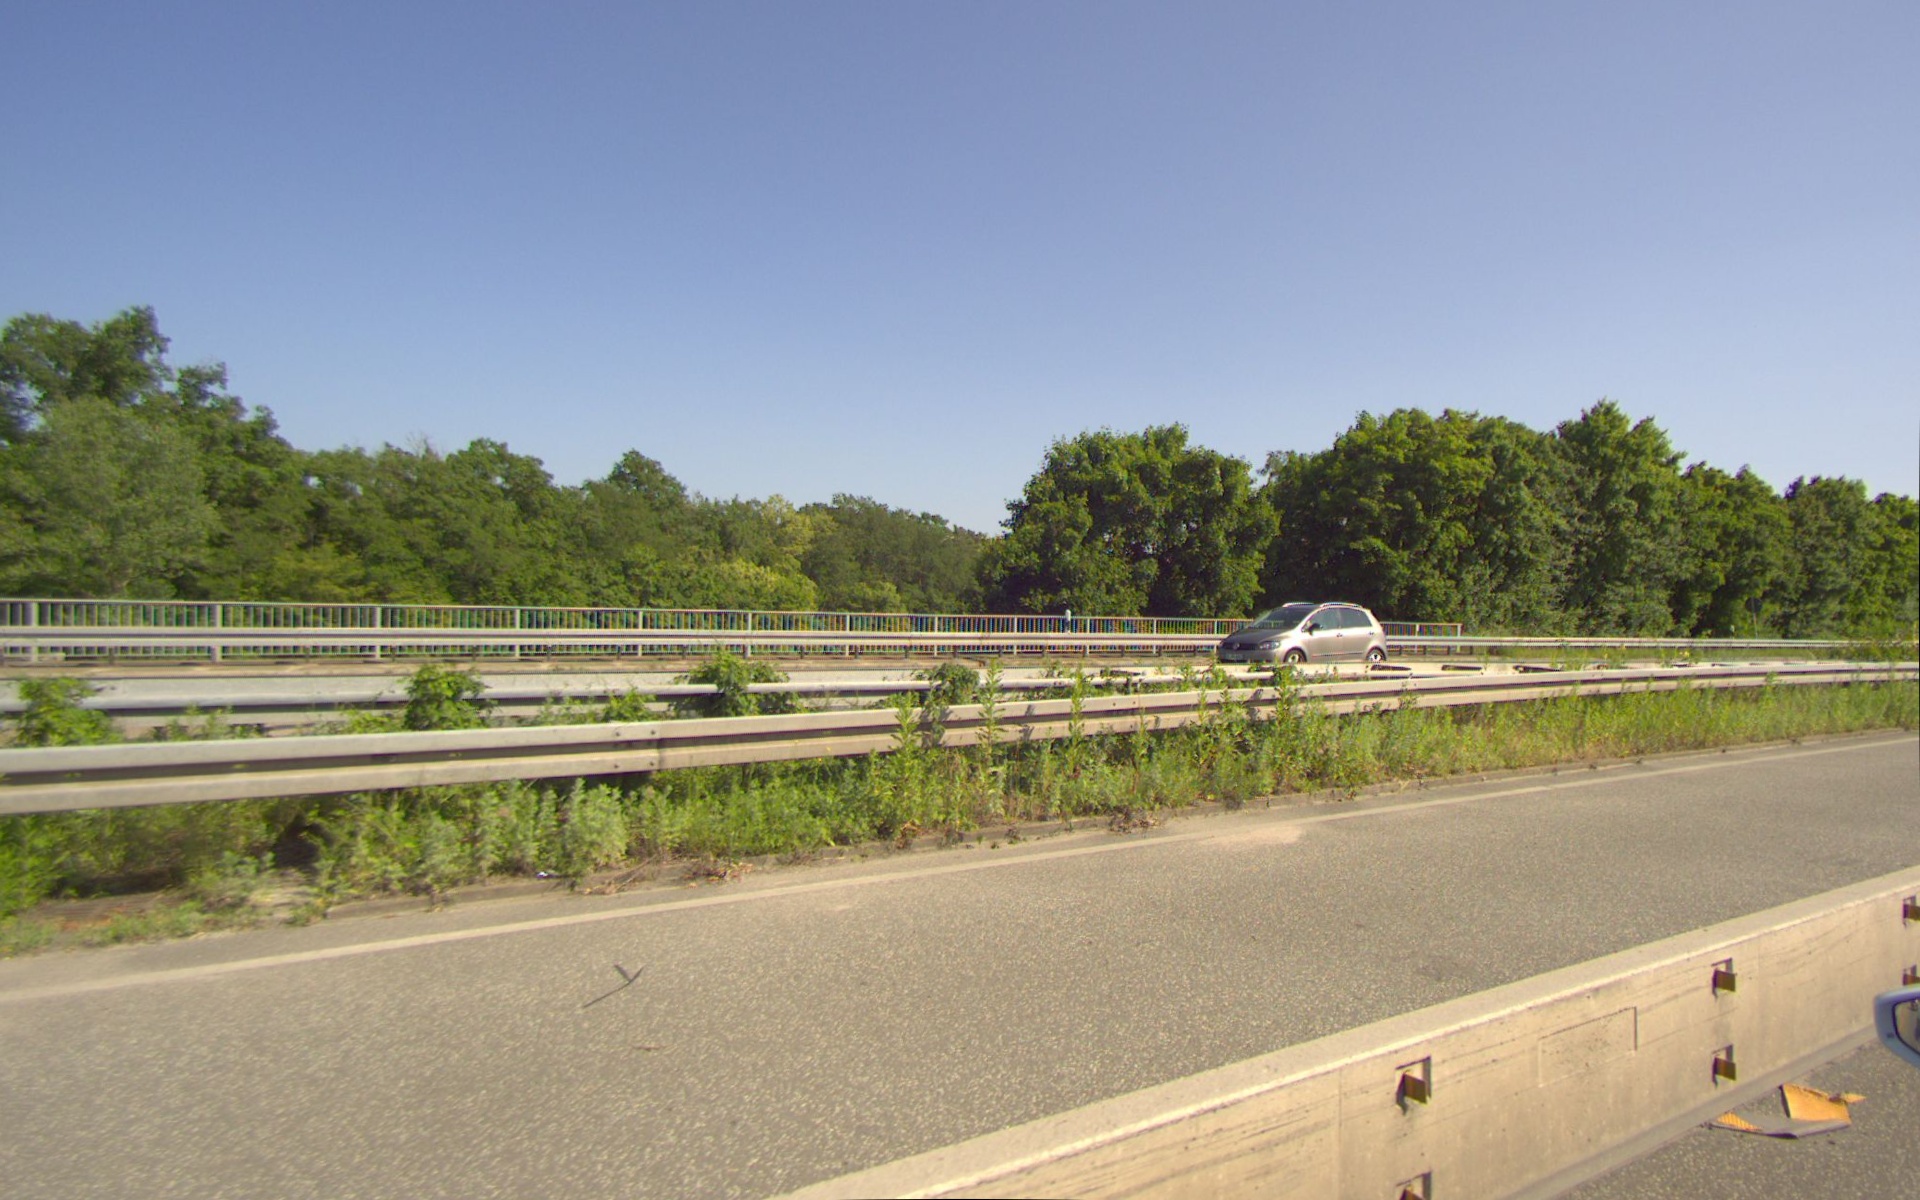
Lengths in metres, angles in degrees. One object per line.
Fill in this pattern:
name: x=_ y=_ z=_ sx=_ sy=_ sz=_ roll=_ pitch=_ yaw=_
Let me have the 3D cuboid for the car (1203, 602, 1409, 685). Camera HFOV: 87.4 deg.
car: x=7.414 y=0.916 z=21.433 sx=4.371 sy=1.604 sz=1.755 roll=2 pitch=-1 yaw=-31
